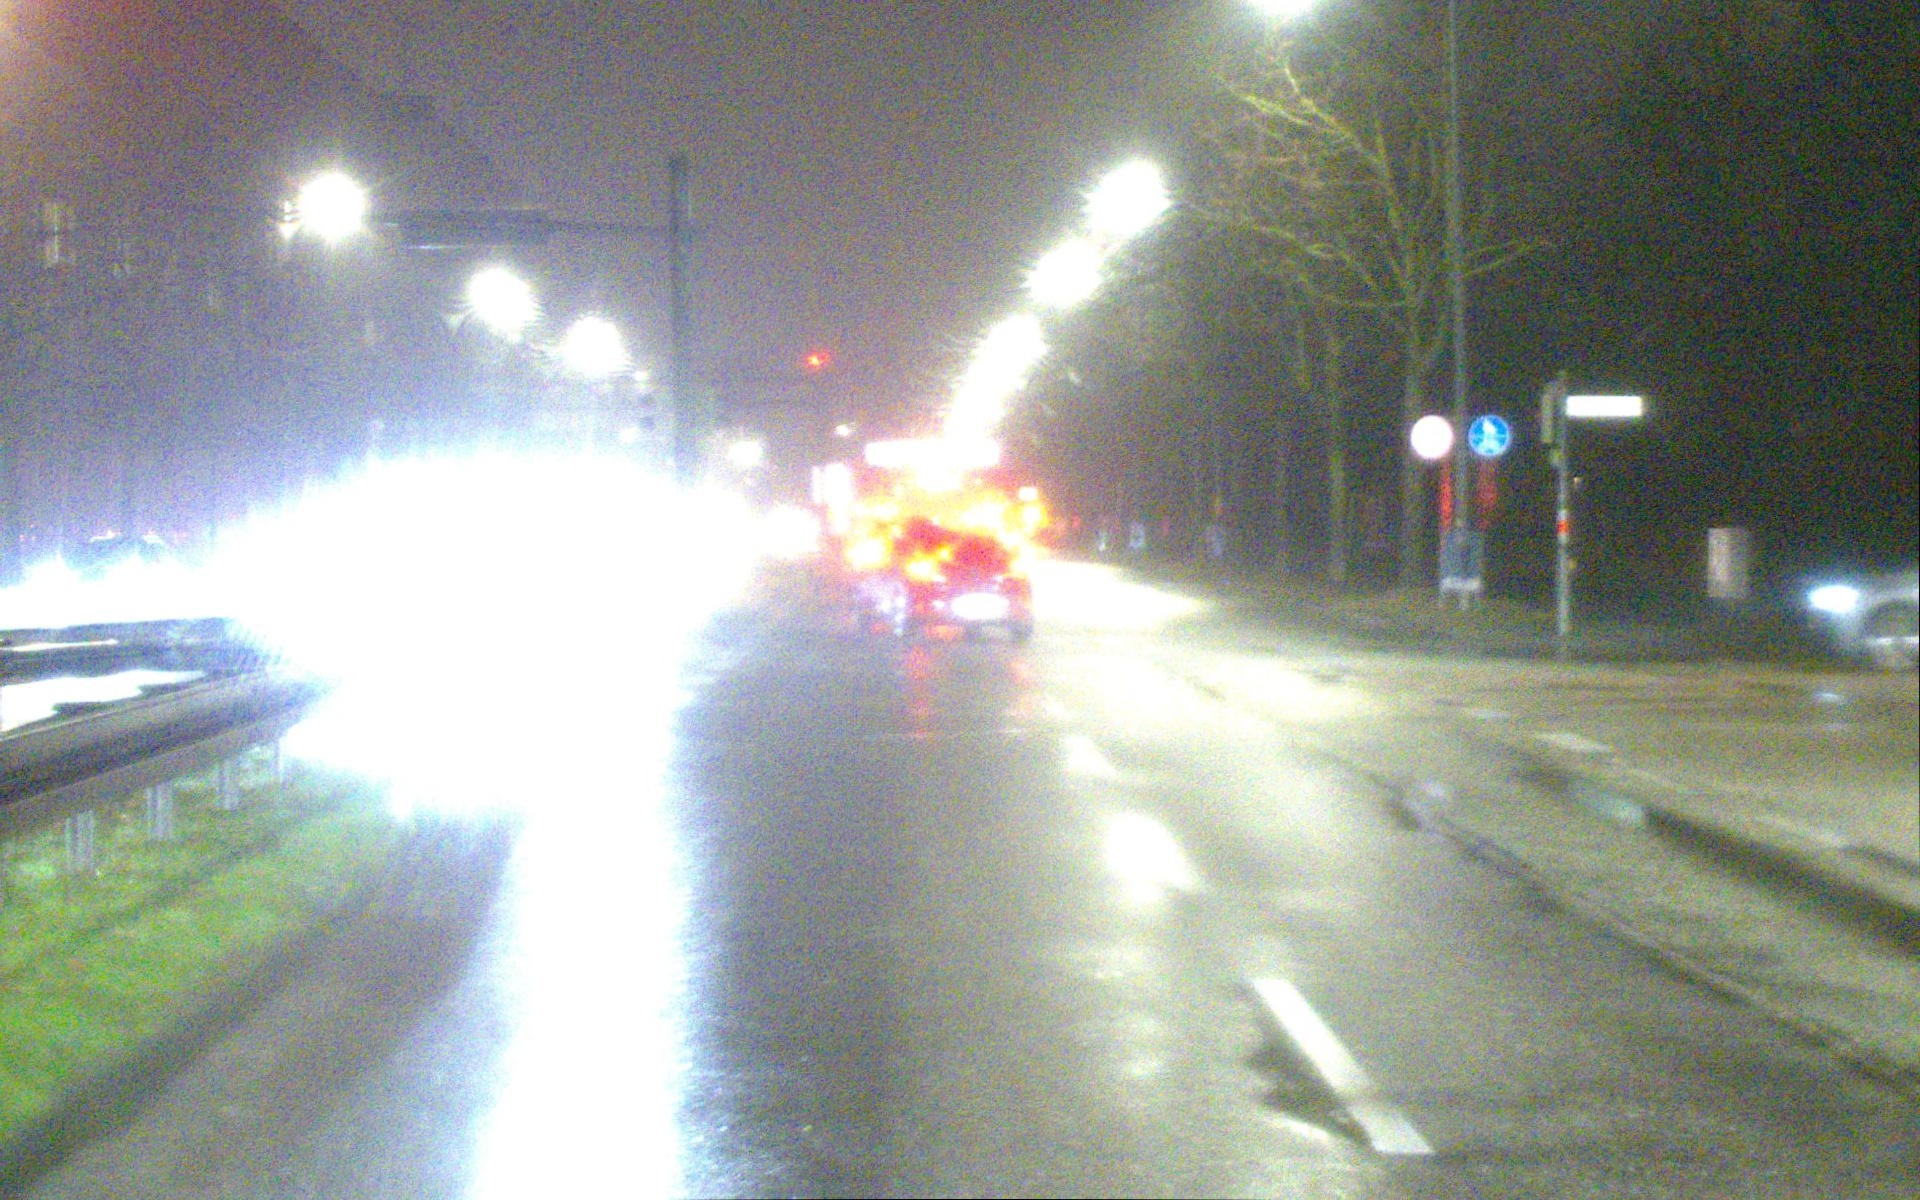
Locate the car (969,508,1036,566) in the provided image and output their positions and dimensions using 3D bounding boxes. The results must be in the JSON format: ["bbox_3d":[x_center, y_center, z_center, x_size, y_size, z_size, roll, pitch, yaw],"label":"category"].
[{"bbox_3d":[1.324,-1.964,108.306,1.993,1.753,4.000,1,1,-1],"label":"car"}]

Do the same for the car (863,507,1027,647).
[{"bbox_3d":[-0.206,-0.309,44.730,1.993,1.700,4.633,1,1,-1],"label":"car"}]

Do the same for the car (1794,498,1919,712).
[{"bbox_3d":[10.464,0.064,33.099,4.621,2.007,1.998,1,0,16],"label":"car"}]
